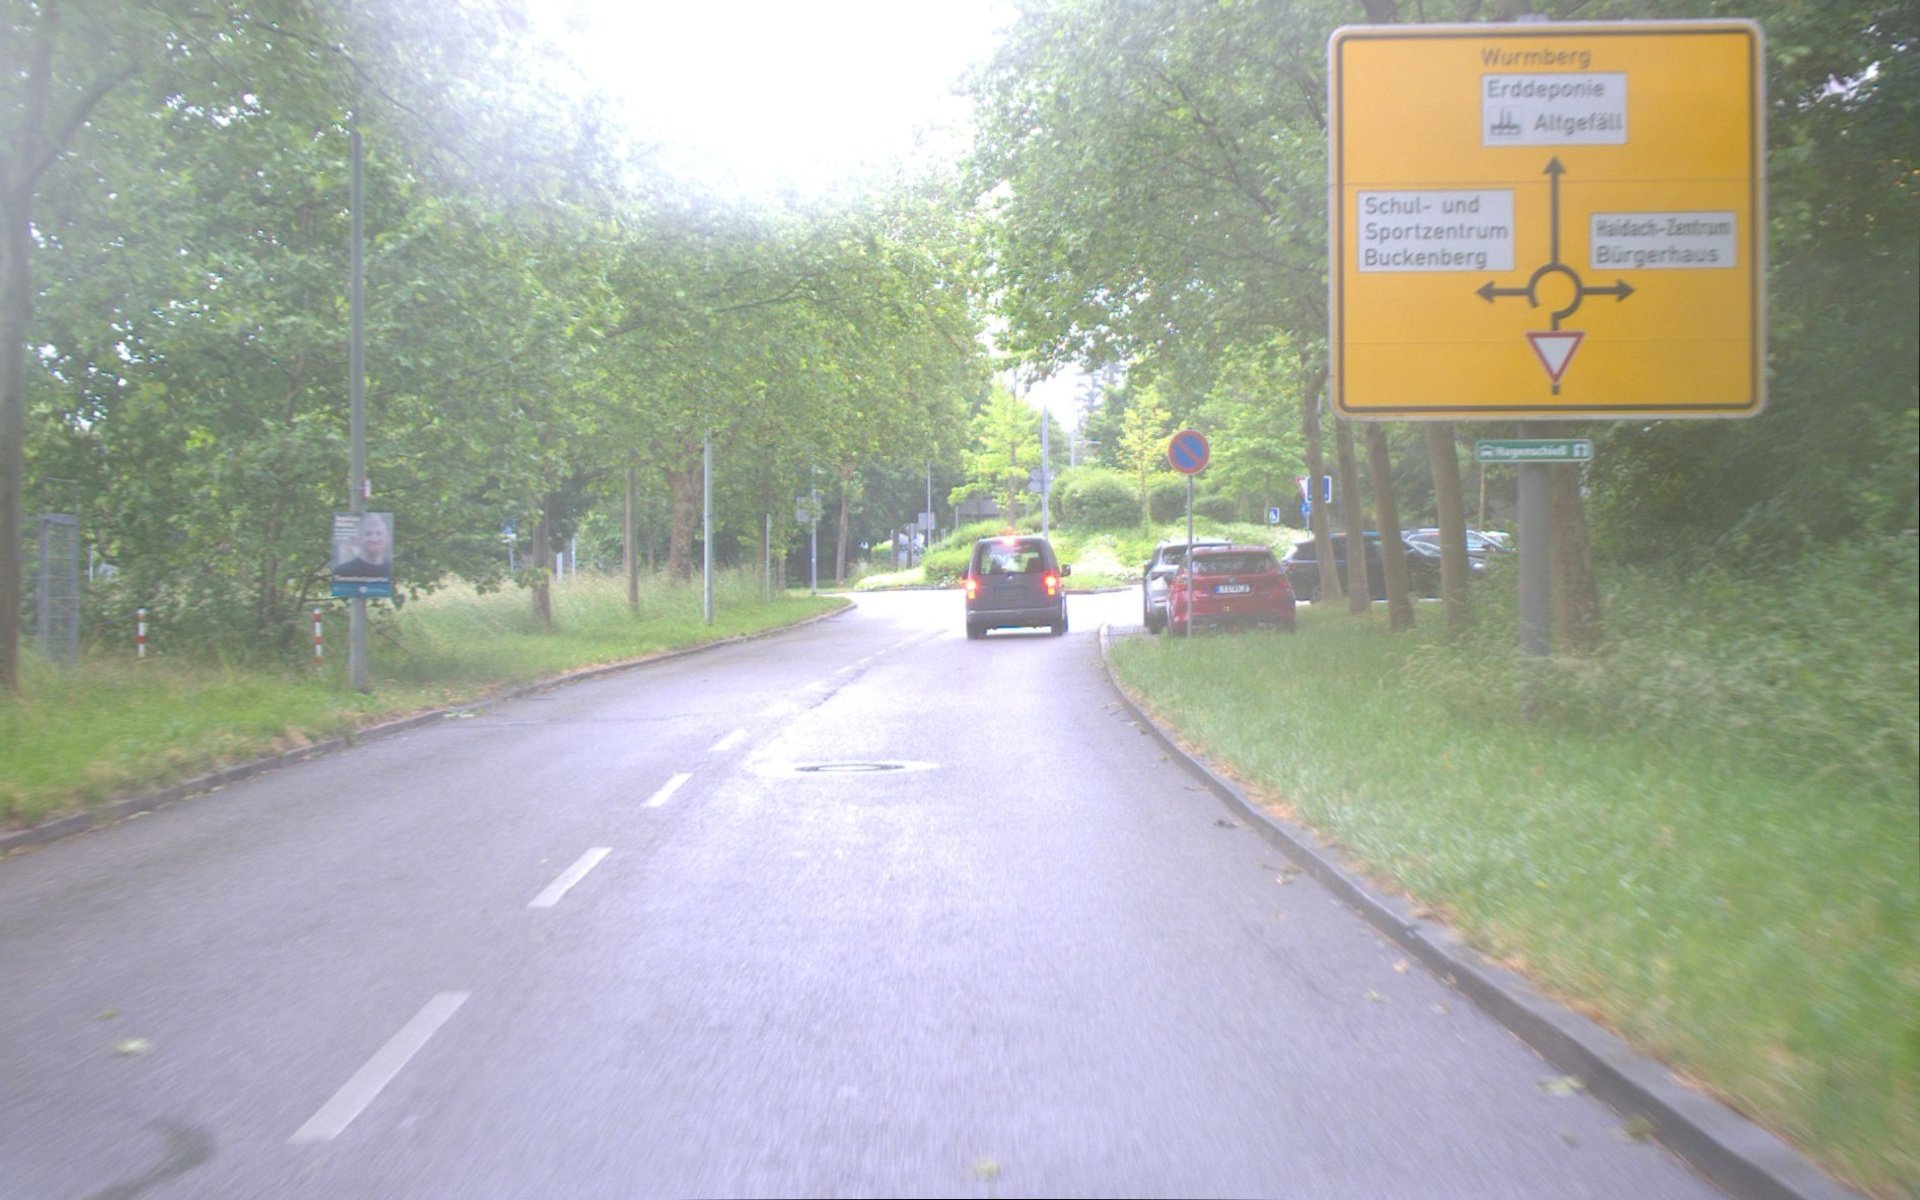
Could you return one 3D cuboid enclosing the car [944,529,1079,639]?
[{"bbox_3d":[0.985,-0.328,63.281,1.919,1.795,3.789,-4,1,8],"label":"car"}]

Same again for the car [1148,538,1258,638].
[{"bbox_3d":[4.193,-0.224,59.709,1.728,1.586,4.253,-3,0,3],"label":"car"}]

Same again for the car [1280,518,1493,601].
[{"bbox_3d":[9.198,-0.887,74.417,4.471,1.674,1.767,-1,2,5],"label":"car"}]

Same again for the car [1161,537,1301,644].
[{"bbox_3d":[3.776,-0.149,48.425,1.797,1.367,3.744,-2,1,3],"label":"car"}]
